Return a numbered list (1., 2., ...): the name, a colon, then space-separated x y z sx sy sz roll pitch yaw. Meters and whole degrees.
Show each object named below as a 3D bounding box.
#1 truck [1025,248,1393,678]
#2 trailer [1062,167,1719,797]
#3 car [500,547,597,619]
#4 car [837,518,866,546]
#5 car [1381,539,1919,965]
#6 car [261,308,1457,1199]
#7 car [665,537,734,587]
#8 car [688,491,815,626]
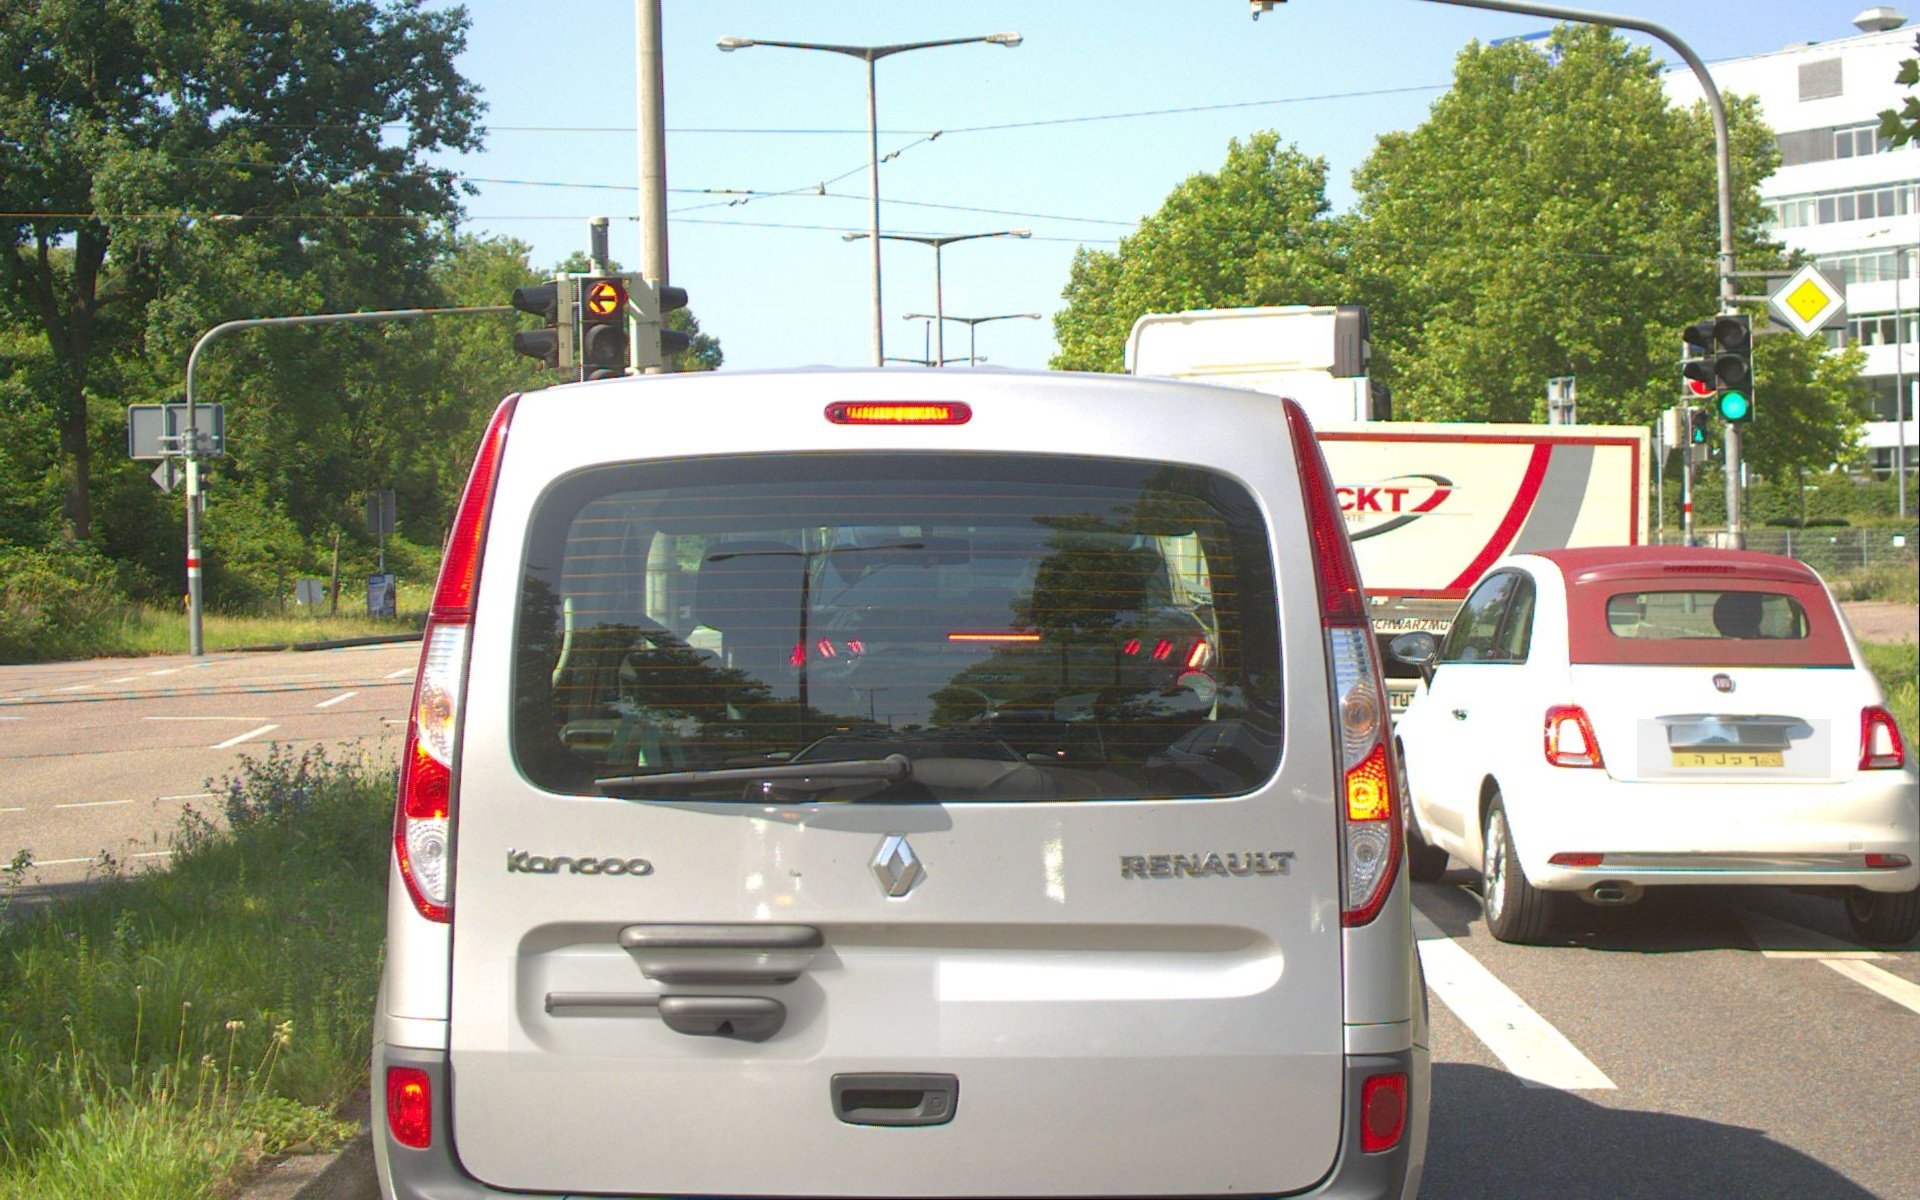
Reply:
1. truck: 2.551 -1.207 32.789 2.911 3.630 7.187 1 1 9
2. trailer: 2.689 -0.748 26.258 2.900 3.610 12.687 1 1 -2
3. car: -9.185 -0.400 77.000 1.699 1.503 4.000 -1 2 -1
4. car: -7.900 -4.938 250.466 1.888 2.007 4.000 1 1 2
5. car: 2.712 0.530 13.976 1.538 1.509 3.260 1 1 -1
6. car: -0.178 0.469 7.195 1.786 1.831 4.000 1 1 -1
7. car: -8.940 -1.317 118.253 1.911 1.636 3.737 -1 0 2
8. car: -4.178 -0.835 69.700 1.994 2.598 5.133 -1 0 2
